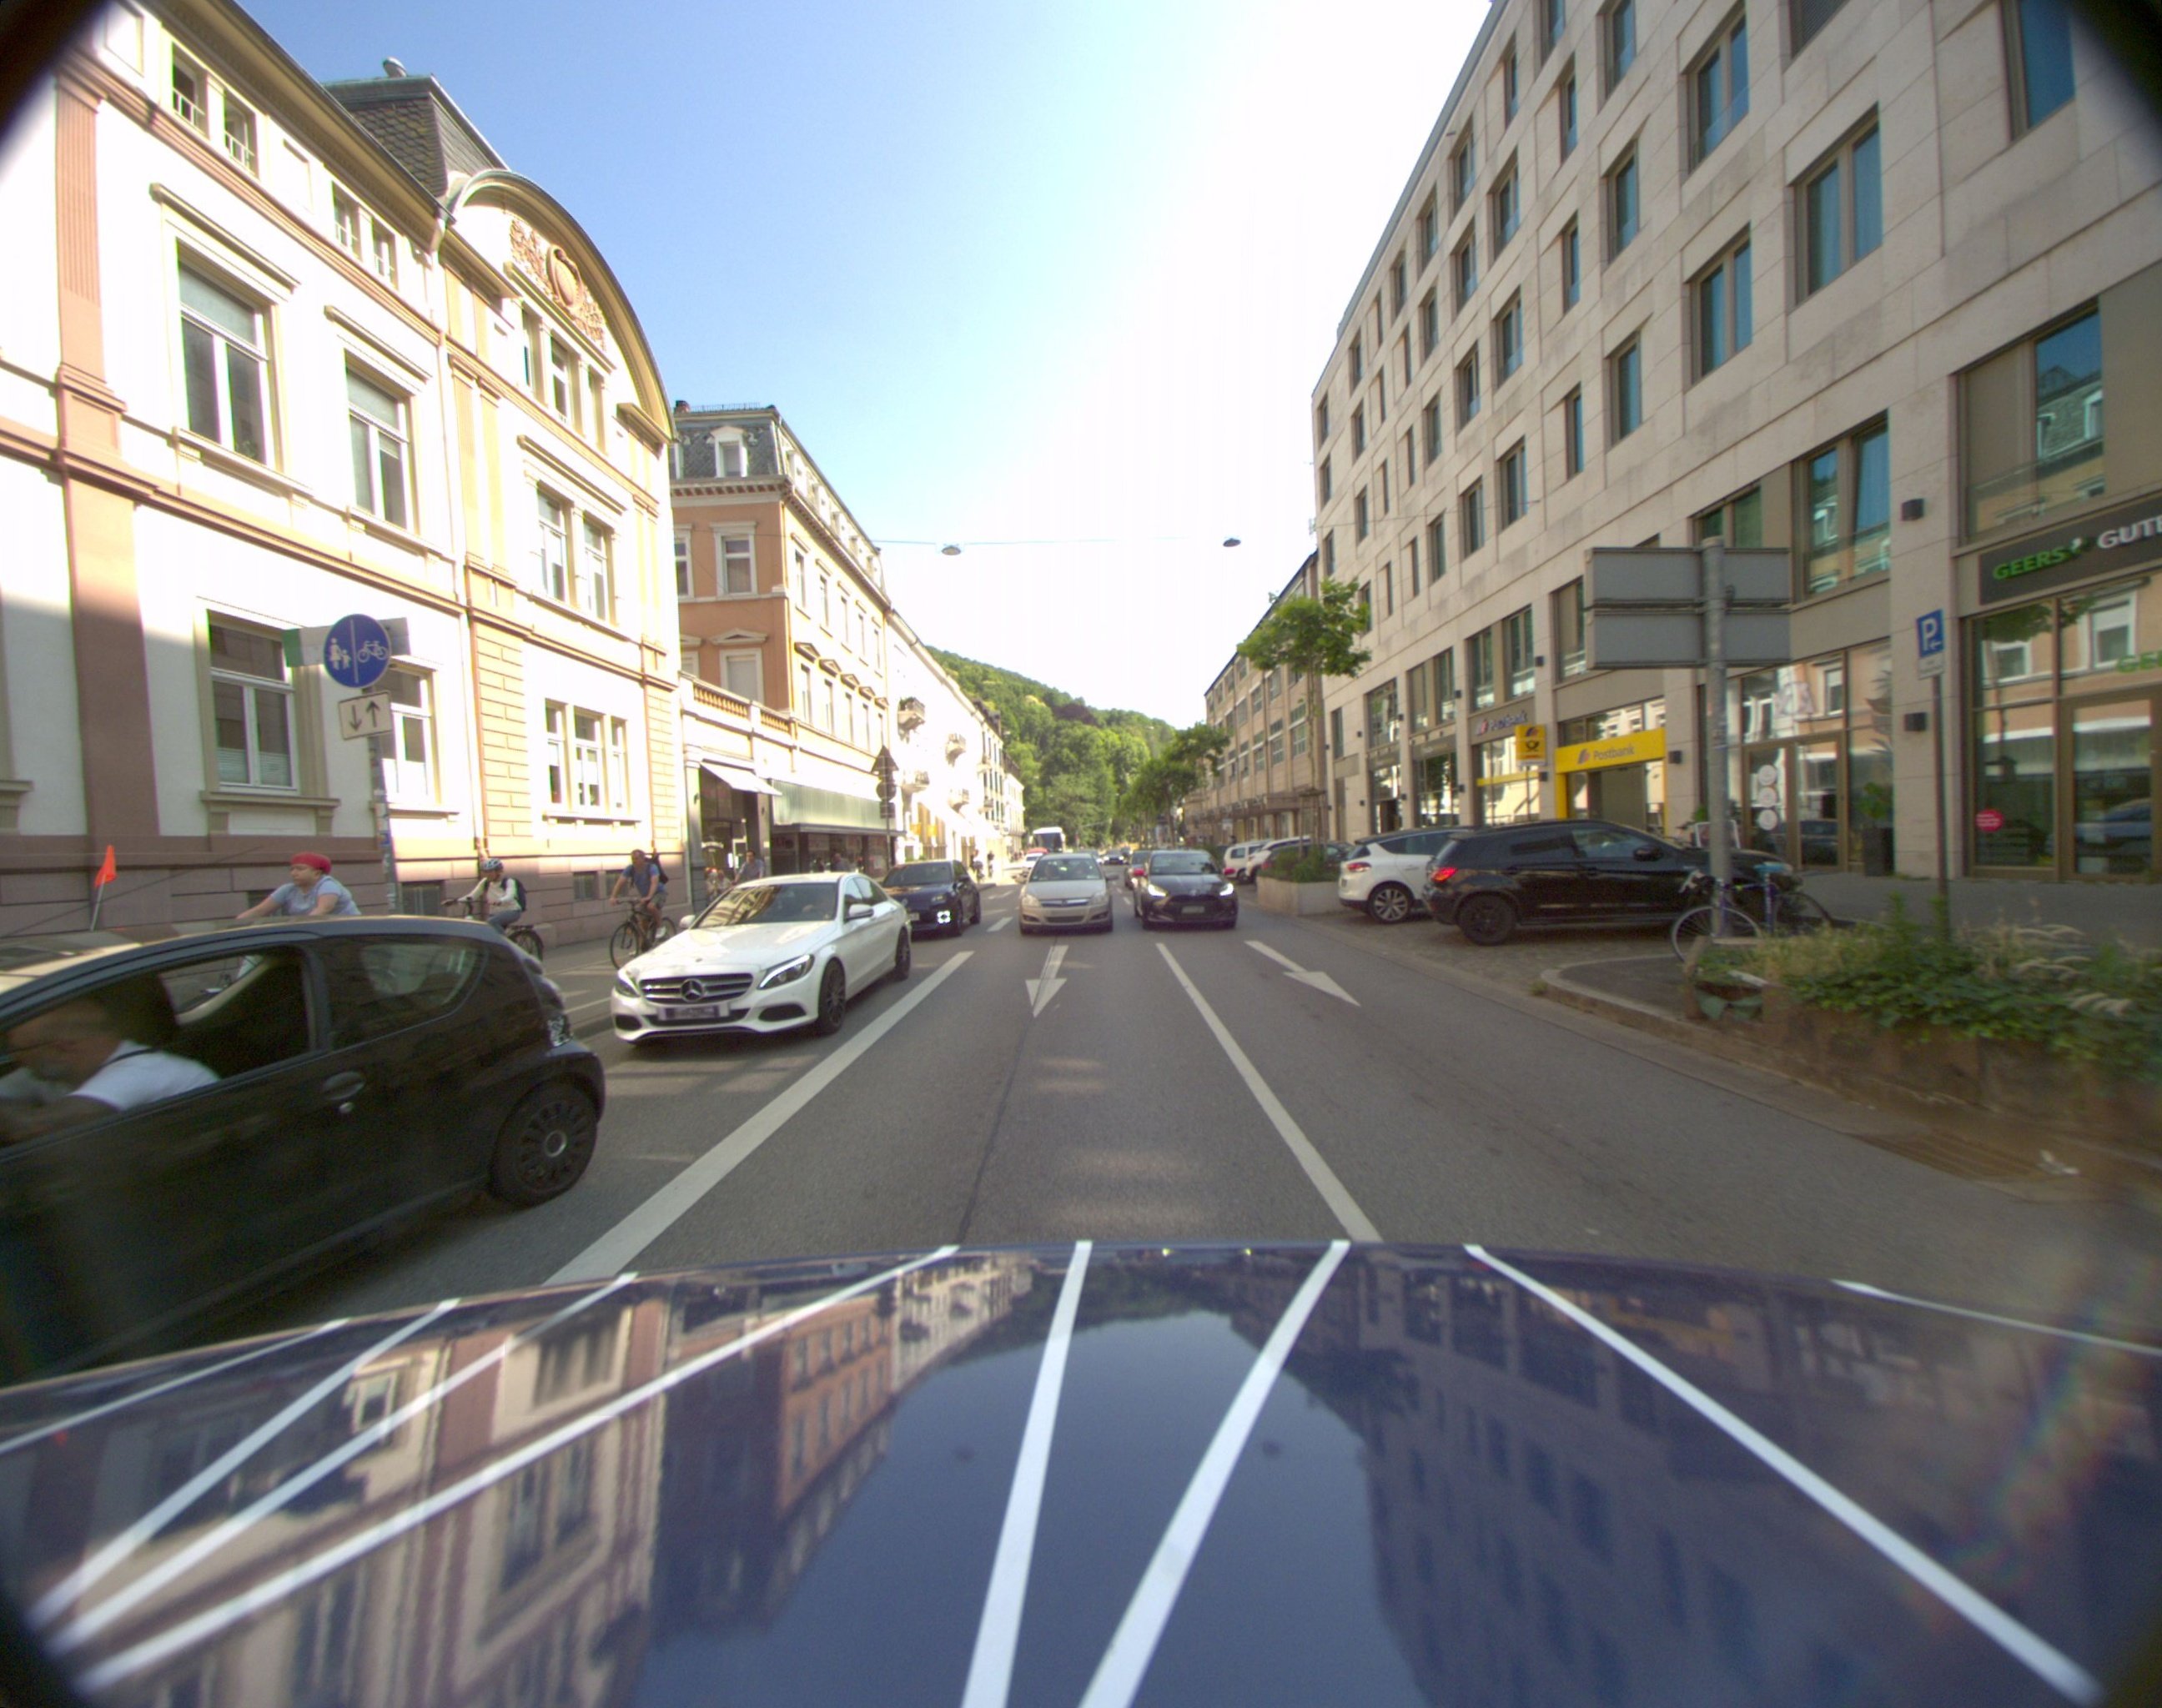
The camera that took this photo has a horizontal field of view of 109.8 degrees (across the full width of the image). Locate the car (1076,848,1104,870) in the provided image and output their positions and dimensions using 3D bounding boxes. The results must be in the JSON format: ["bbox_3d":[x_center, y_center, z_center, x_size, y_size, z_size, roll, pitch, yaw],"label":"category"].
[{"bbox_3d":[0.620,0.346,51.917,1.775,1.469,4.107,-1,0,1],"label":"car"}]

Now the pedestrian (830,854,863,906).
[{"bbox_3d":[-8.309,0.906,26.928,0.840,1.781,0.767,-2,2,2],"label":"pedestrian"}]

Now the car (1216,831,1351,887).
[{"bbox_3d":[7.442,0.184,27.947,4.493,1.424,1.865,-7,1,21],"label":"car"}]

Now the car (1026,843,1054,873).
[{"bbox_3d":[-2.925,0.268,55.139,1.703,1.901,4.606,-7,0,-1],"label":"car"}]

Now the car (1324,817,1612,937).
[{"bbox_3d":[6.850,0.386,13.955,4.165,1.627,2.103,-6,1,10],"label":"car"}]

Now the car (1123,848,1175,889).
[{"bbox_3d":[2.566,0.502,29.537,1.733,1.389,4.106,-2,1,2],"label":"car"}]

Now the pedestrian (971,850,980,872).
[{"bbox_3d":[-8.036,0.528,57.980,0.482,1.659,0.868,-2,1,1],"label":"pedestrian"}]

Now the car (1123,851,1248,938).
[{"bbox_3d":[1.954,0.706,15.376,1.868,1.469,4.105,-1,1,-1],"label":"car"}]

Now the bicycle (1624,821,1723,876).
[{"bbox_3d":[13.171,-0.128,16.981,0.497,1.101,2.161,-5,1,1],"label":"bicycle"}]

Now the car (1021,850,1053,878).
[{"bbox_3d":[-2.838,0.616,49.432,1.799,1.516,4.262,-6,1,-1],"label":"car"}]

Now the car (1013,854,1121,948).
[{"bbox_3d":[-0.288,0.809,15.261,1.791,1.484,4.366,-3,1,-1],"label":"car"}]

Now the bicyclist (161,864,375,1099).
[{"bbox_3d":[-6.400,0.954,6.040,0.684,1.707,0.844,-2,2,2],"label":"bicyclist"}]

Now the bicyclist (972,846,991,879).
[{"bbox_3d":[-5.251,0.418,40.119,0.747,1.693,1.036,-2,2,2],"label":"bicyclist"}]

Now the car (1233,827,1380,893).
[{"bbox_3d":[7.229,0.211,24.444,4.029,1.584,1.822,-7,1,34],"label":"car"}]

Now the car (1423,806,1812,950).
[{"bbox_3d":[7.014,0.327,10.540,4.025,1.594,1.961,-4,2,24],"label":"car"}]

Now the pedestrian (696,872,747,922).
[{"bbox_3d":[-9.802,1.165,20.749,1.032,1.308,0.625,-1,1,0],"label":"pedestrian"}]

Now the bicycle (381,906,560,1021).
[{"bbox_3d":[-7.424,1.281,9.378,0.607,1.120,1.860,-1,1,3],"label":"bicycle"}]

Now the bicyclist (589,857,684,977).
[{"bbox_3d":[-6.654,0.916,11.425,0.840,1.707,0.844,-2,2,2],"label":"bicyclist"}]

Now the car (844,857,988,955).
[{"bbox_3d":[-3.223,0.944,15.783,1.891,1.483,4.289,-5,2,0],"label":"car"}]

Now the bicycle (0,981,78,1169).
[{"bbox_3d":[-7.238,1.424,3.528,0.750,1.120,3.241,-1,0,3],"label":"bicycle"}]

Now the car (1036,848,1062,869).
[{"bbox_3d":[-2.475,0.316,60.148,1.868,1.479,4.413,-3,1,-1],"label":"car"}]

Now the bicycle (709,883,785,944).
[{"bbox_3d":[-7.108,1.235,16.278,0.748,1.111,1.918,-2,1,0],"label":"bicycle"}]

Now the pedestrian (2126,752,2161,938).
[{"bbox_3d":[11.218,-0.119,7.382,0.840,1.868,0.844,-6,2,2],"label":"pedestrian"}]

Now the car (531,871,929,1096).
[{"bbox_3d":[-3.188,1.055,8.288,1.957,1.417,4.885,-4,1,0],"label":"car"}]

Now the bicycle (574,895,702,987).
[{"bbox_3d":[-6.628,1.261,11.509,0.664,1.111,1.992,-2,1,3],"label":"bicycle"}]

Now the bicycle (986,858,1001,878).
[{"bbox_3d":[-5.307,0.823,46.277,0.596,1.120,2.093,-1,2,3],"label":"bicycle"}]

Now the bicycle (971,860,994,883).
[{"bbox_3d":[-5.200,0.908,40.400,0.743,1.120,2.573,-1,1,3],"label":"bicycle"}]

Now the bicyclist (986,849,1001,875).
[{"bbox_3d":[-5.326,0.472,46.244,0.747,1.564,0.844,-2,2,2],"label":"bicyclist"}]

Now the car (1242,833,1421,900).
[{"bbox_3d":[6.942,0.369,21.247,4.308,1.441,1.790,-5,1,35],"label":"car"}]

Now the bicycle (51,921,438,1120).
[{"bbox_3d":[-6.411,1.198,6.056,0.737,1.120,2.034,-1,1,3],"label":"bicycle"}]

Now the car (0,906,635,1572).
[{"bbox_3d":[-3.543,1.123,2.310,1.631,1.470,3.733,-3,2,10],"label":"car"}]

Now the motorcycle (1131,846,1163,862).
[{"bbox_3d":[6.063,-0.003,69.738,0.980,1.343,3.094,-3,1,-42],"label":"motorcycle"}]

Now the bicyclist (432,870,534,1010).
[{"bbox_3d":[-7.430,1.039,9.480,0.516,1.627,0.844,-2,2,2],"label":"bicyclist"}]

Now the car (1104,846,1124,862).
[{"bbox_3d":[3.041,0.013,71.422,1.733,1.389,4.106,-3,1,1],"label":"car"}]

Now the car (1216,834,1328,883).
[{"bbox_3d":[7.714,0.158,30.940,3.997,1.520,1.819,-6,3,0],"label":"car"}]

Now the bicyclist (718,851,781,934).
[{"bbox_3d":[-7.109,0.809,16.339,0.910,1.707,0.844,-2,2,-1],"label":"bicyclist"}]

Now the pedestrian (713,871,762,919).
[{"bbox_3d":[-9.693,1.150,21.461,1.088,1.308,0.625,0,1,0],"label":"pedestrian"}]

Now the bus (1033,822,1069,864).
[{"bbox_3d":[-2.667,-1.036,71.014,2.924,3.516,12.496,-2,1,-1],"label":"bus"}]

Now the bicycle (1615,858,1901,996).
[{"bbox_3d":[6.354,0.673,7.186,2.145,1.120,0.485,-4,0,2],"label":"bicycle"}]
